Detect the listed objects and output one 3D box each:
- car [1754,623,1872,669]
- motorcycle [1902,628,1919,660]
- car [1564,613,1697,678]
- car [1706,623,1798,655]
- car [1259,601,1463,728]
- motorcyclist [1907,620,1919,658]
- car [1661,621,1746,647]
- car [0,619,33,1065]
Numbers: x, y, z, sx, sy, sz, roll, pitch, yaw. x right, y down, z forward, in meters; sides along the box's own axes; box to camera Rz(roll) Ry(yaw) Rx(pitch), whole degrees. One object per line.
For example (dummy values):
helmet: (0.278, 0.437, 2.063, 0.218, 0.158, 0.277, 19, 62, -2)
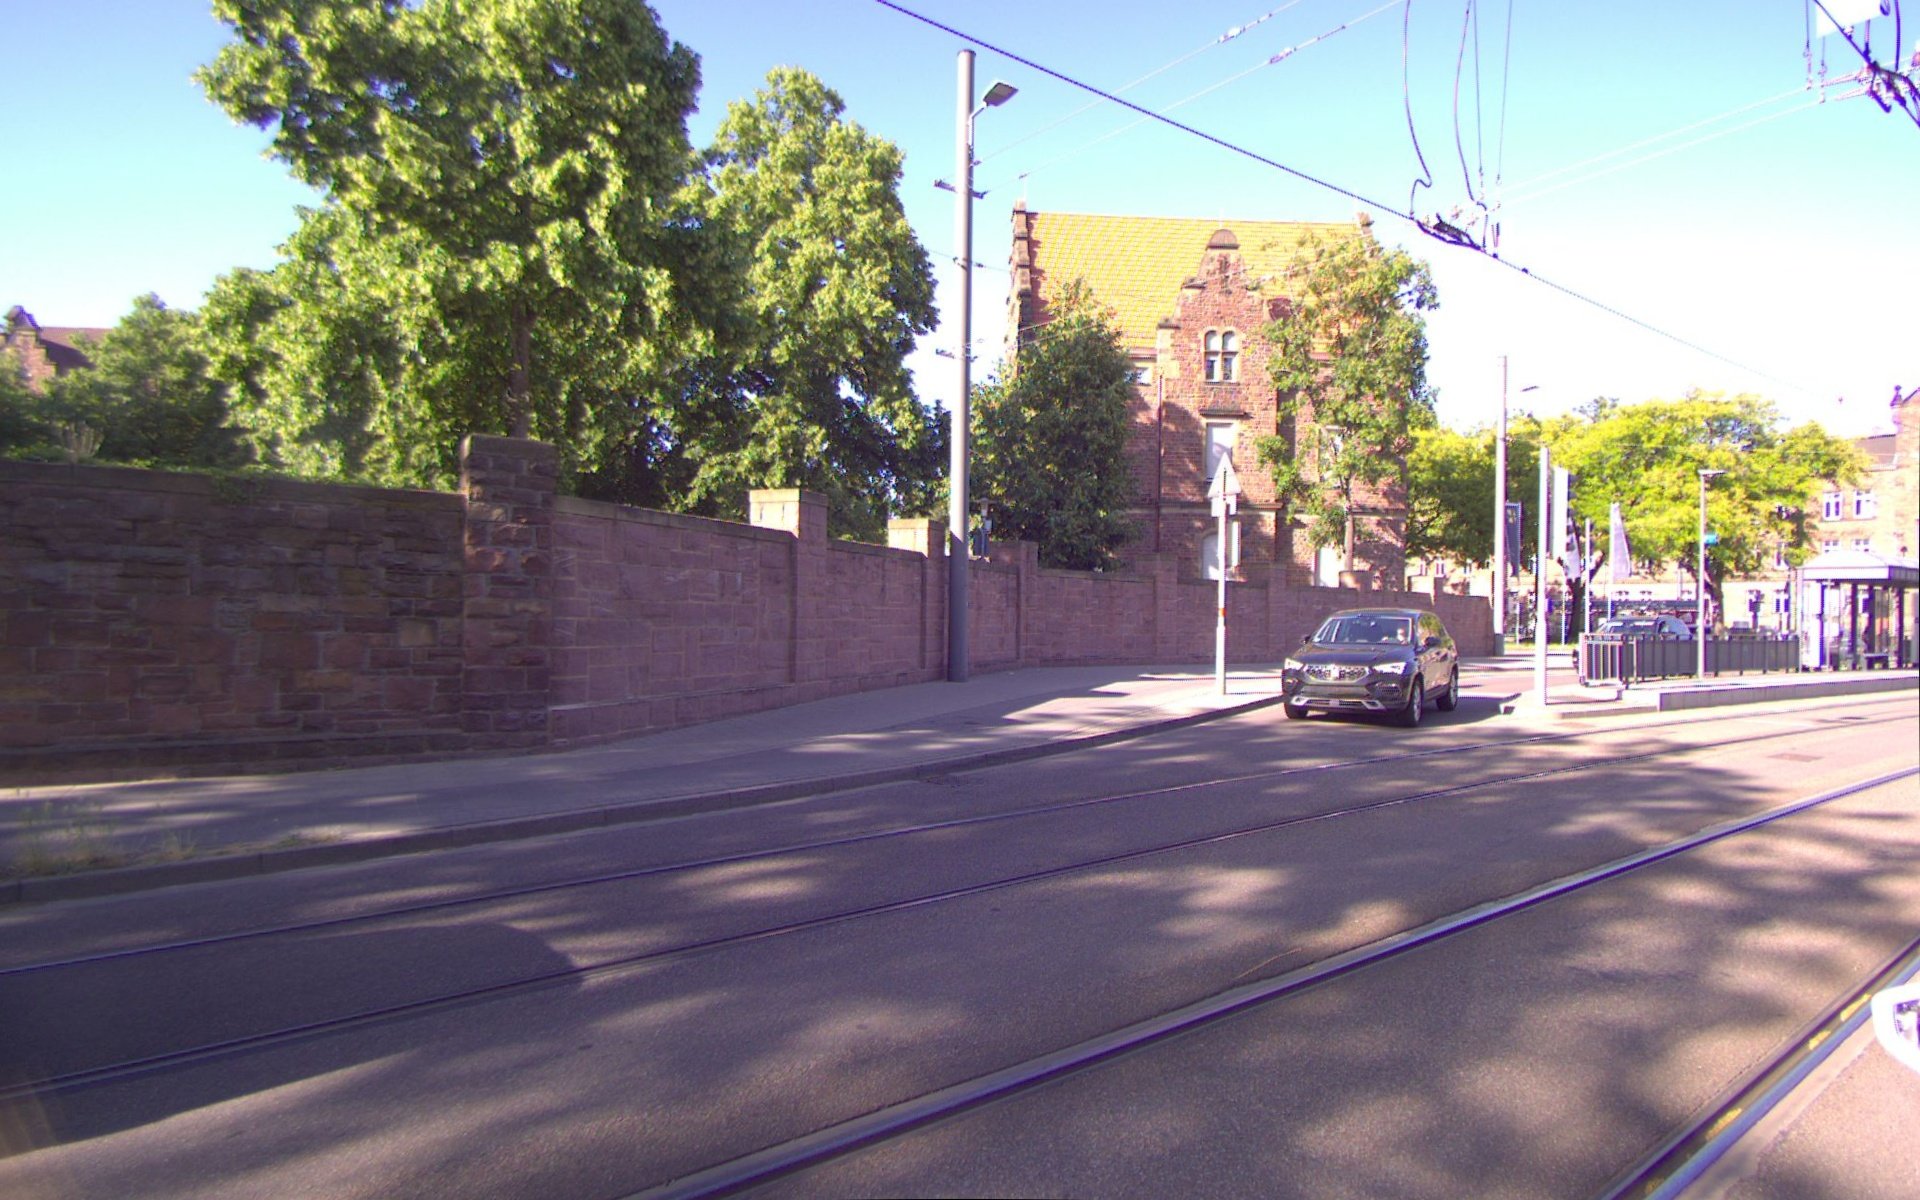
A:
car: (29.027, 1.541, 34.149, 4.575, 1.434, 1.872, 1, -1, -33)
motorcycle: (39.668, 1.808, 41.140, 2.549, 1.260, 1.122, 2, 0, -36)
car: (18.300, 1.200, 27.360, 4.080, 1.659, 1.783, 1, -1, -37)
car: (46.520, 2.272, 59.060, 1.730, 1.682, 3.840, 2, 0, -30)
car: (6.182, 0.928, 15.204, 1.896, 1.638, 4.103, 0, -3, 37)
motorcyclist: (39.761, 1.623, 41.200, 1.045, 1.545, 1.117, 2, 0, -36)
car: (48.611, 2.200, 65.751, 1.855, 1.542, 4.045, 2, 0, -30)
car: (-4.846, 0.755, 2.051, 4.226, 1.441, 1.720, 2, -1, -41)
